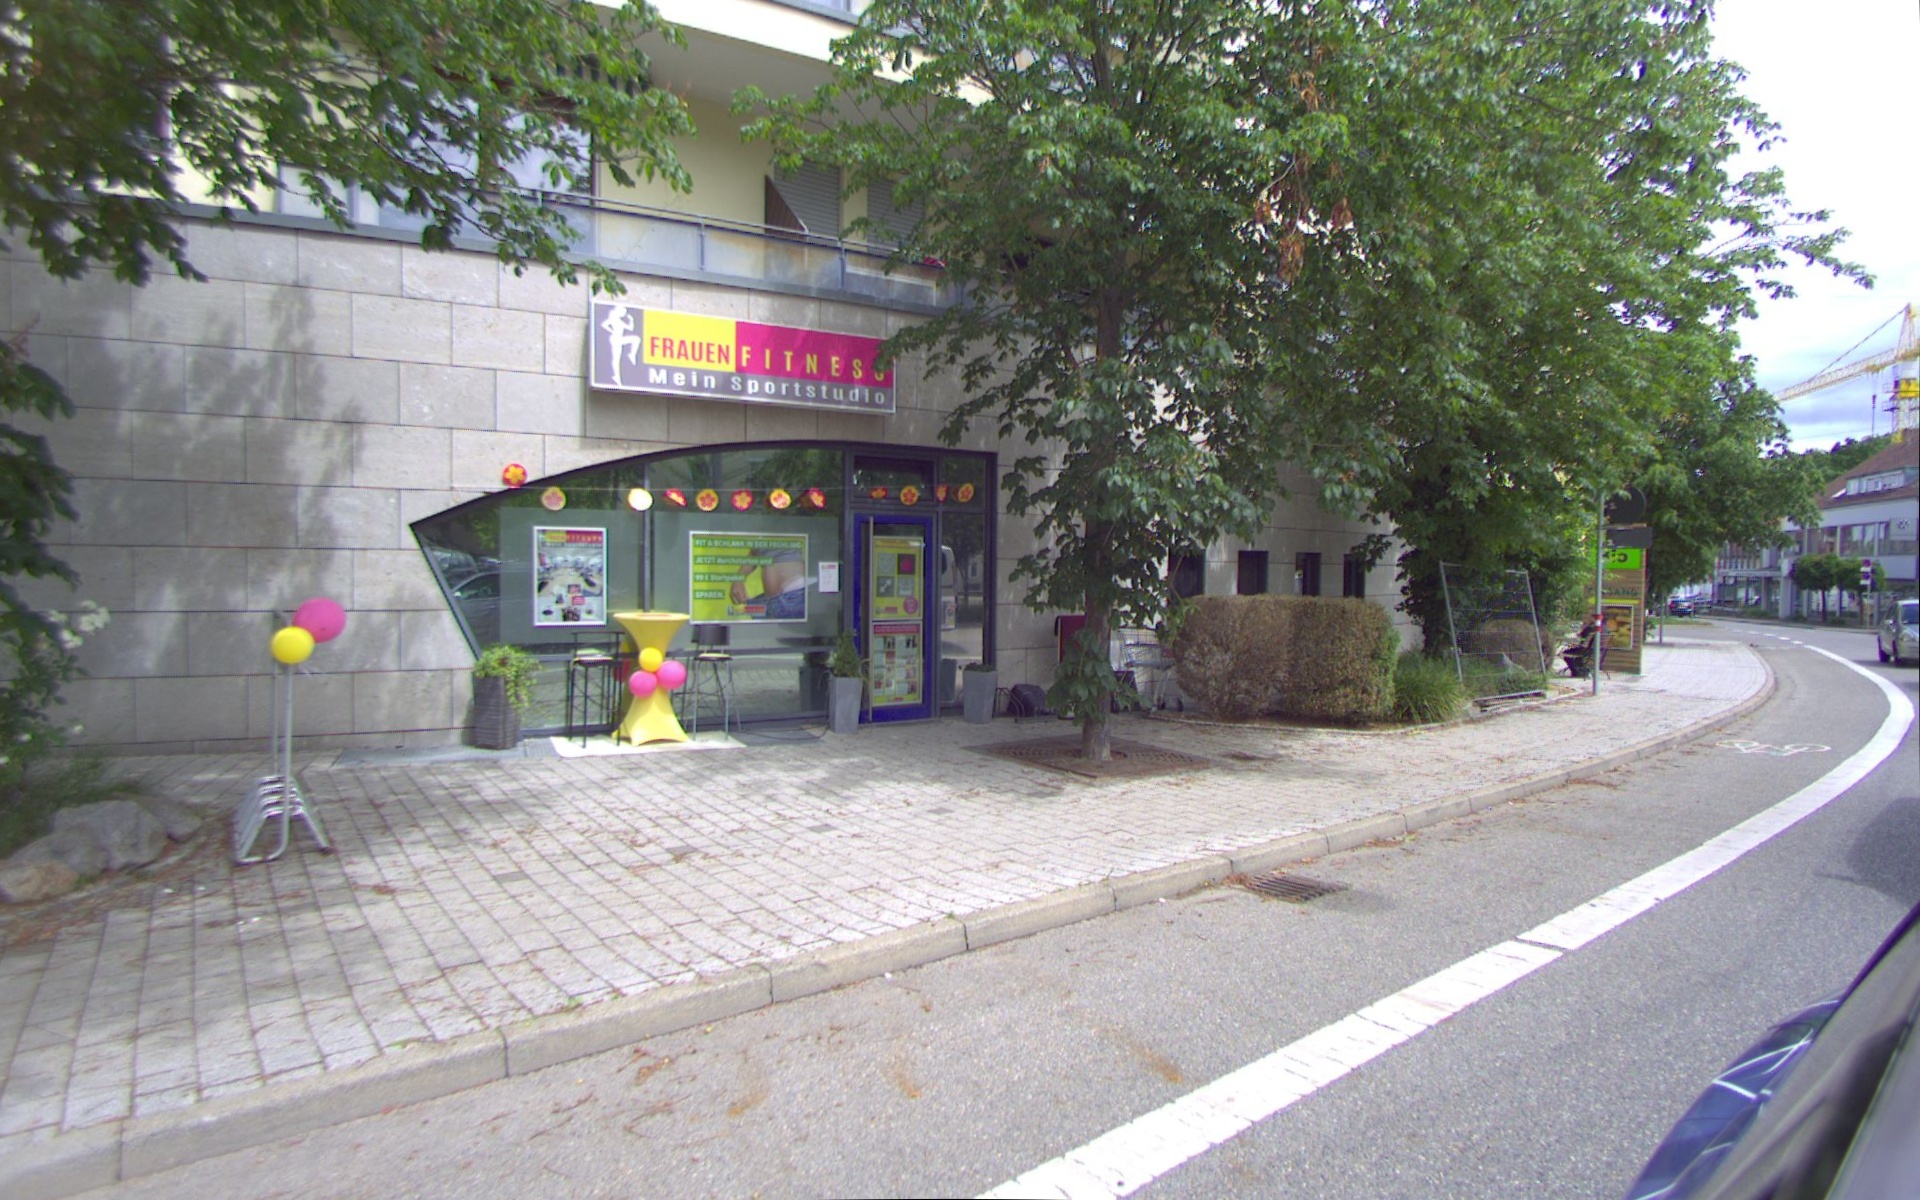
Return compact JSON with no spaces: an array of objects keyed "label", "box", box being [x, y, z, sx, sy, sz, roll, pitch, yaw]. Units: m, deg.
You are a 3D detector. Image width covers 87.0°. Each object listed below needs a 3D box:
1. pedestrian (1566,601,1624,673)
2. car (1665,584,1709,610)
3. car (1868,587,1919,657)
[{"label":"pedestrian","box":[12.147,0.687,19.350,0.741,1.317,0.730,0,1,-41]},{"label":"car","box":[54.658,-0.237,76.130,1.721,1.874,3.971,2,2,22]},{"label":"car","box":[22.605,0.451,23.439,1.681,1.505,3.954,-1,0,32]}]
